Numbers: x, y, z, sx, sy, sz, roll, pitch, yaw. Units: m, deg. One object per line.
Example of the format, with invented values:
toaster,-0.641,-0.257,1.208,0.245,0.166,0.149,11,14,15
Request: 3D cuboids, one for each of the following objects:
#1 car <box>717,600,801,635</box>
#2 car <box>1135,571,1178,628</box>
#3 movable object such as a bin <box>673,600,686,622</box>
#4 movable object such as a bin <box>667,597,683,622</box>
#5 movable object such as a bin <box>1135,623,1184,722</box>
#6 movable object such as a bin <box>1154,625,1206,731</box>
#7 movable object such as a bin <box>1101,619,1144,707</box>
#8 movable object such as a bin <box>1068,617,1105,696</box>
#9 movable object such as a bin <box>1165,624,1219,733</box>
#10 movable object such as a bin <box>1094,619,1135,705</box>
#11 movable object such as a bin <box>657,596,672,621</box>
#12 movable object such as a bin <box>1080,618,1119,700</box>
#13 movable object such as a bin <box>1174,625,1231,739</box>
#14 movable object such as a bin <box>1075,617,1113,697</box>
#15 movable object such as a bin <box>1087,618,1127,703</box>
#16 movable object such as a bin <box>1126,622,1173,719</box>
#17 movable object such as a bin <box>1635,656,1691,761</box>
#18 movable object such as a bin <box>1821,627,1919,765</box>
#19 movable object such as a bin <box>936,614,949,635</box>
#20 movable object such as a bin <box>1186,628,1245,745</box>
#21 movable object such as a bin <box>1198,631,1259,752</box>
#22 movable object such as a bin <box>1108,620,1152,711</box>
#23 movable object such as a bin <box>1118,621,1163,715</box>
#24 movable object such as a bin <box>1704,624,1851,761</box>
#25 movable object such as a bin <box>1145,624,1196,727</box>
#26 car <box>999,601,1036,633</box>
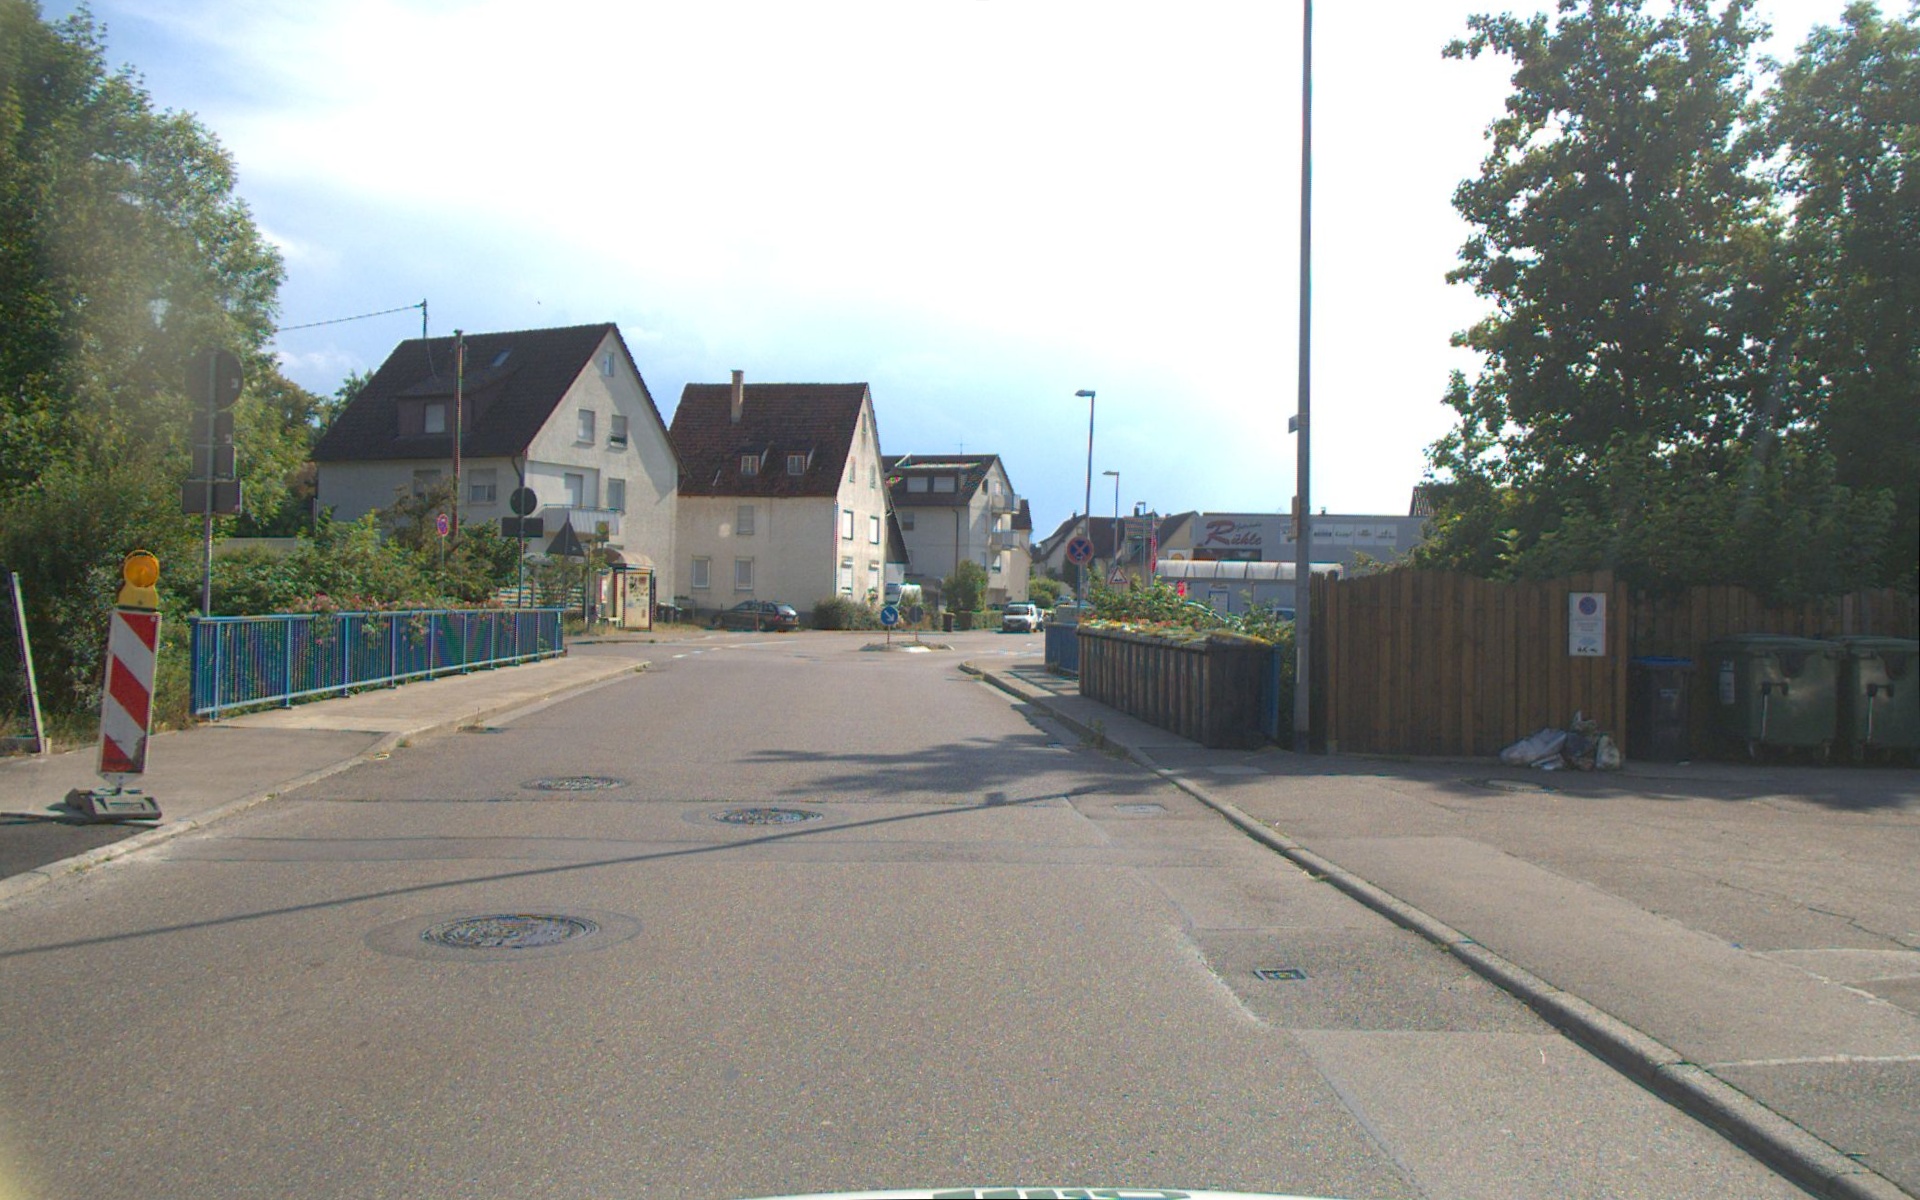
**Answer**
car,-9.633,0.827,79.161,3.924,1.458,1.645,3,1,38
car,8.726,-0.019,73.322,1.797,2.416,5.182,1,0,7
movable object such as a bin,-12.132,0.483,71.635,0.354,0.941,0.399,1,-2,27
movable object such as a bin,-12.256,0.414,71.079,0.354,1.041,0.576,1,-2,27
movable object such as a bin,2.394,0.863,19.862,0.469,1.163,0.538,1,0,-5
movable object such as a bin,2.475,0.867,18.631,0.469,1.163,0.538,1,0,-5
movable object such as a bin,2.184,0.843,22.258,0.469,1.163,0.538,1,0,-5
movable object such as a bin,1.929,0.856,25.210,0.469,1.163,0.538,1,0,-5
movable object such as a bin,2.532,0.847,18.075,0.469,1.163,0.538,1,0,-5
movable object such as a bin,2.133,0.851,22.823,0.469,1.163,0.538,1,0,-5
movable object such as a bin,-12.595,0.356,70.537,0.354,1.059,0.557,1,-2,27
movable object such as a bin,2.017,0.847,24.015,0.469,1.163,0.538,1,0,-5
movable object such as a bin,2.564,0.860,17.516,0.469,1.163,0.542,1,0,-5
movable object such as a bin,1.989,0.845,24.618,0.469,1.163,0.538,1,0,-5
movable object such as a bin,2.082,0.849,23.406,0.469,1.163,0.538,1,0,-5
movable object such as a bin,2.341,0.860,20.441,0.469,1.163,0.538,1,0,-5
movable object such as a bin,7.471,1.146,17.582,0.422,1.063,0.442,1,1,9
movable object such as a bin,9.767,0.990,17.339,1.018,1.360,1.005,1,1,9
movable object such as a bin,-0.980,1.374,93.104,0.598,1.120,0.576,2,-1,11
movable object such as a bin,2.613,0.873,16.945,0.469,1.163,0.538,1,0,-5
movable object such as a bin,2.652,0.898,16.388,0.469,1.163,0.538,1,0,-5
movable object such as a bin,2.227,0.856,21.662,0.469,1.163,0.538,1,0,-5
movable object such as a bin,2.293,0.858,21.056,0.469,1.163,0.564,1,0,-5
movable object such as a bin,8.601,0.989,17.459,1.127,1.361,1.046,1,-5,9
movable object such as a bin,2.442,0.865,19.201,0.469,1.163,0.538,1,0,-5
car,3.618,1.045,103.434,1.679,1.905,4.195,0,0,11
